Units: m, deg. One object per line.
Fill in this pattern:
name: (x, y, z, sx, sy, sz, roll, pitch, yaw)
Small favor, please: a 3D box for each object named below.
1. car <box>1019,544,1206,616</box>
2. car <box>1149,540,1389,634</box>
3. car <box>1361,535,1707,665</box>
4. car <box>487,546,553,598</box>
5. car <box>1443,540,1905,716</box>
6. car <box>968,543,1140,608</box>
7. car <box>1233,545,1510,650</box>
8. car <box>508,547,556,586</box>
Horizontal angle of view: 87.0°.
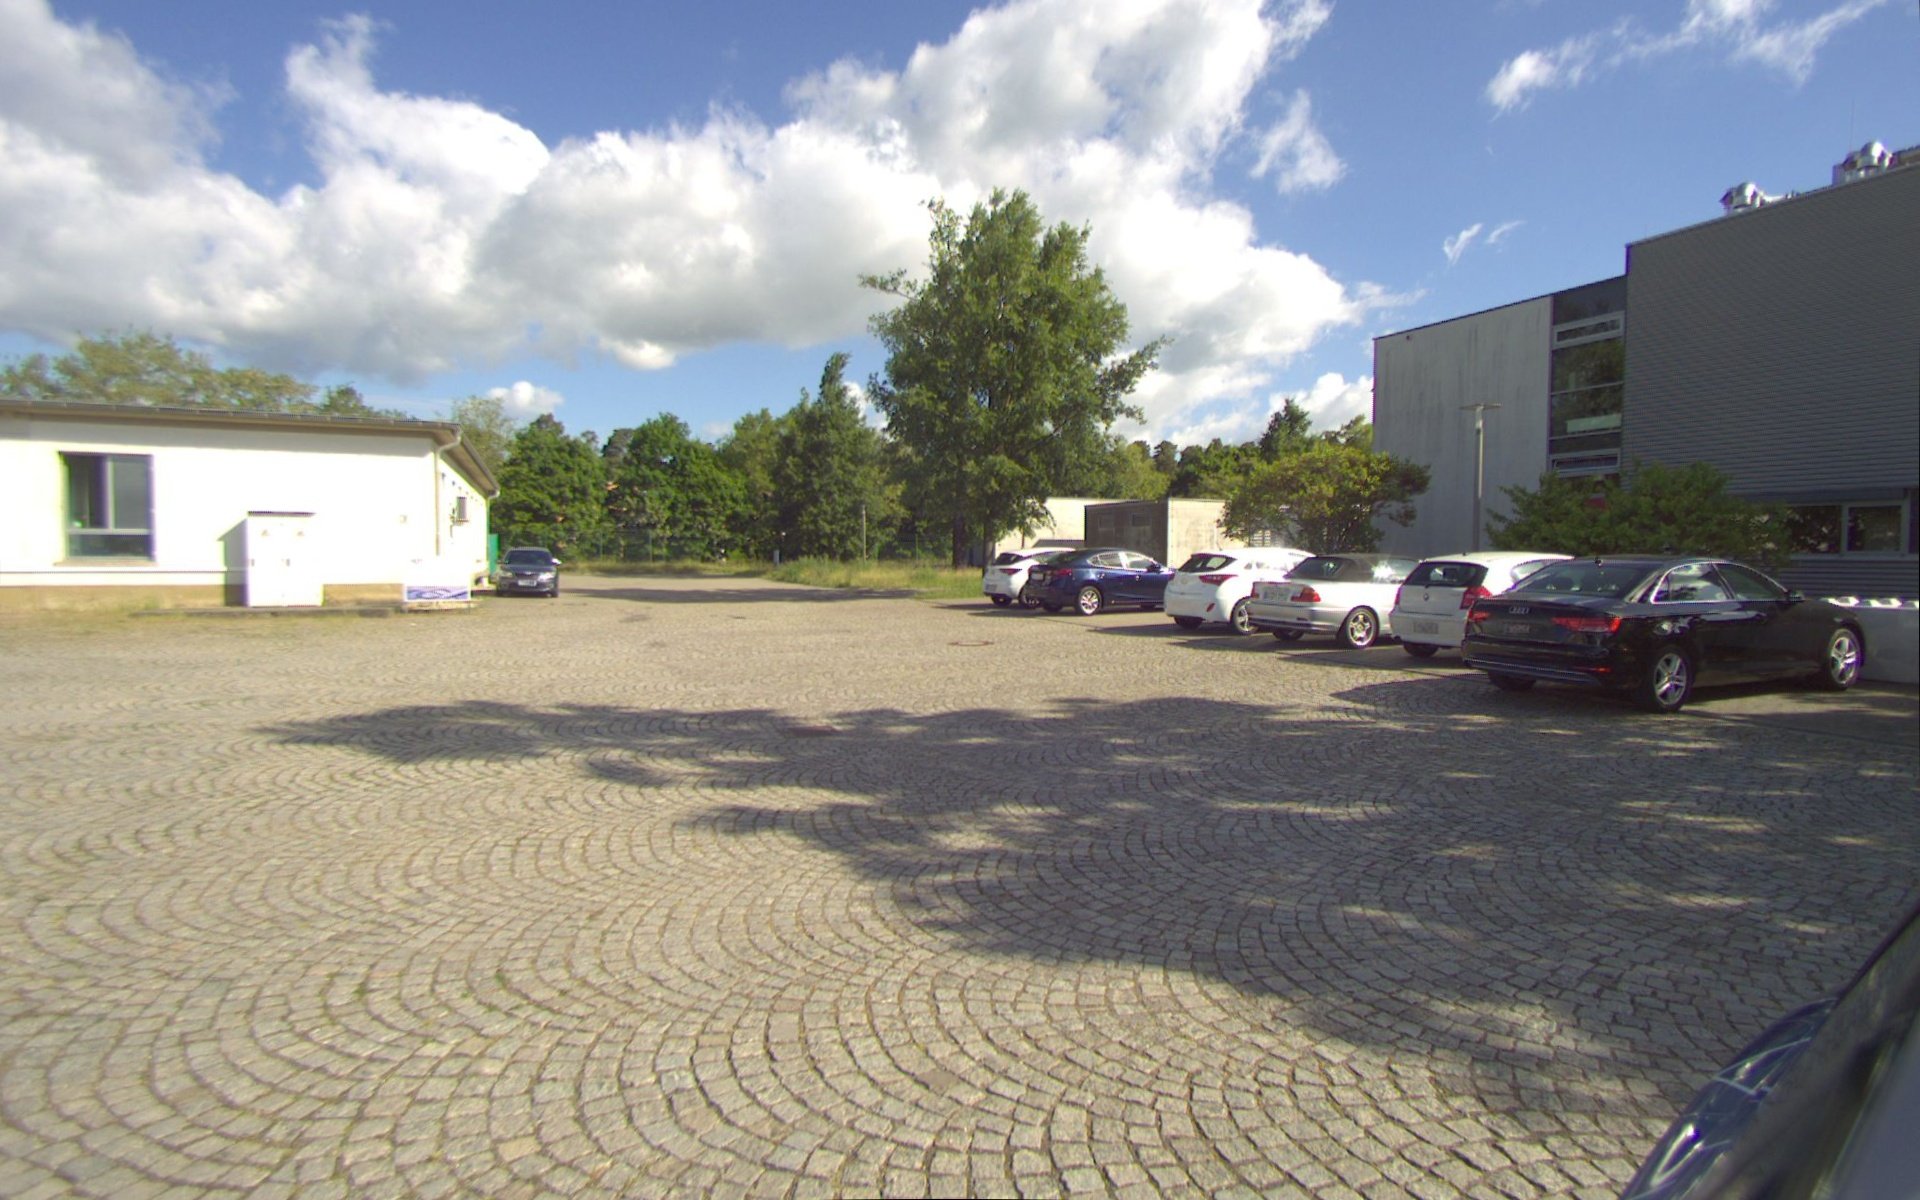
car: (3.449, -0.506, 22.885, 3.844, 1.434, 1.696, -3, 3, -22)
car: (5.521, -0.288, 18.104, 3.844, 1.464, 1.760, -3, 3, -22)
car: (7.651, -0.077, 13.557, 4.065, 1.477, 1.696, -2, 3, -17)
car: (-13.275, -0.876, 30.691, 1.732, 1.453, 4.001, 0, 2, -22)
car: (7.436, 0.156, 10.513, 4.637, 1.440, 1.761, -3, 3, -23)
car: (2.343, -0.658, 25.315, 3.844, 1.452, 1.800, -3, 3, -22)
car: (6.368, -0.106, 15.676, 3.844, 1.388, 1.732, -3, 3, -22)
car: (-16.909, -1.345, 40.093, 1.657, 1.453, 3.996, 0, 2, -22)
